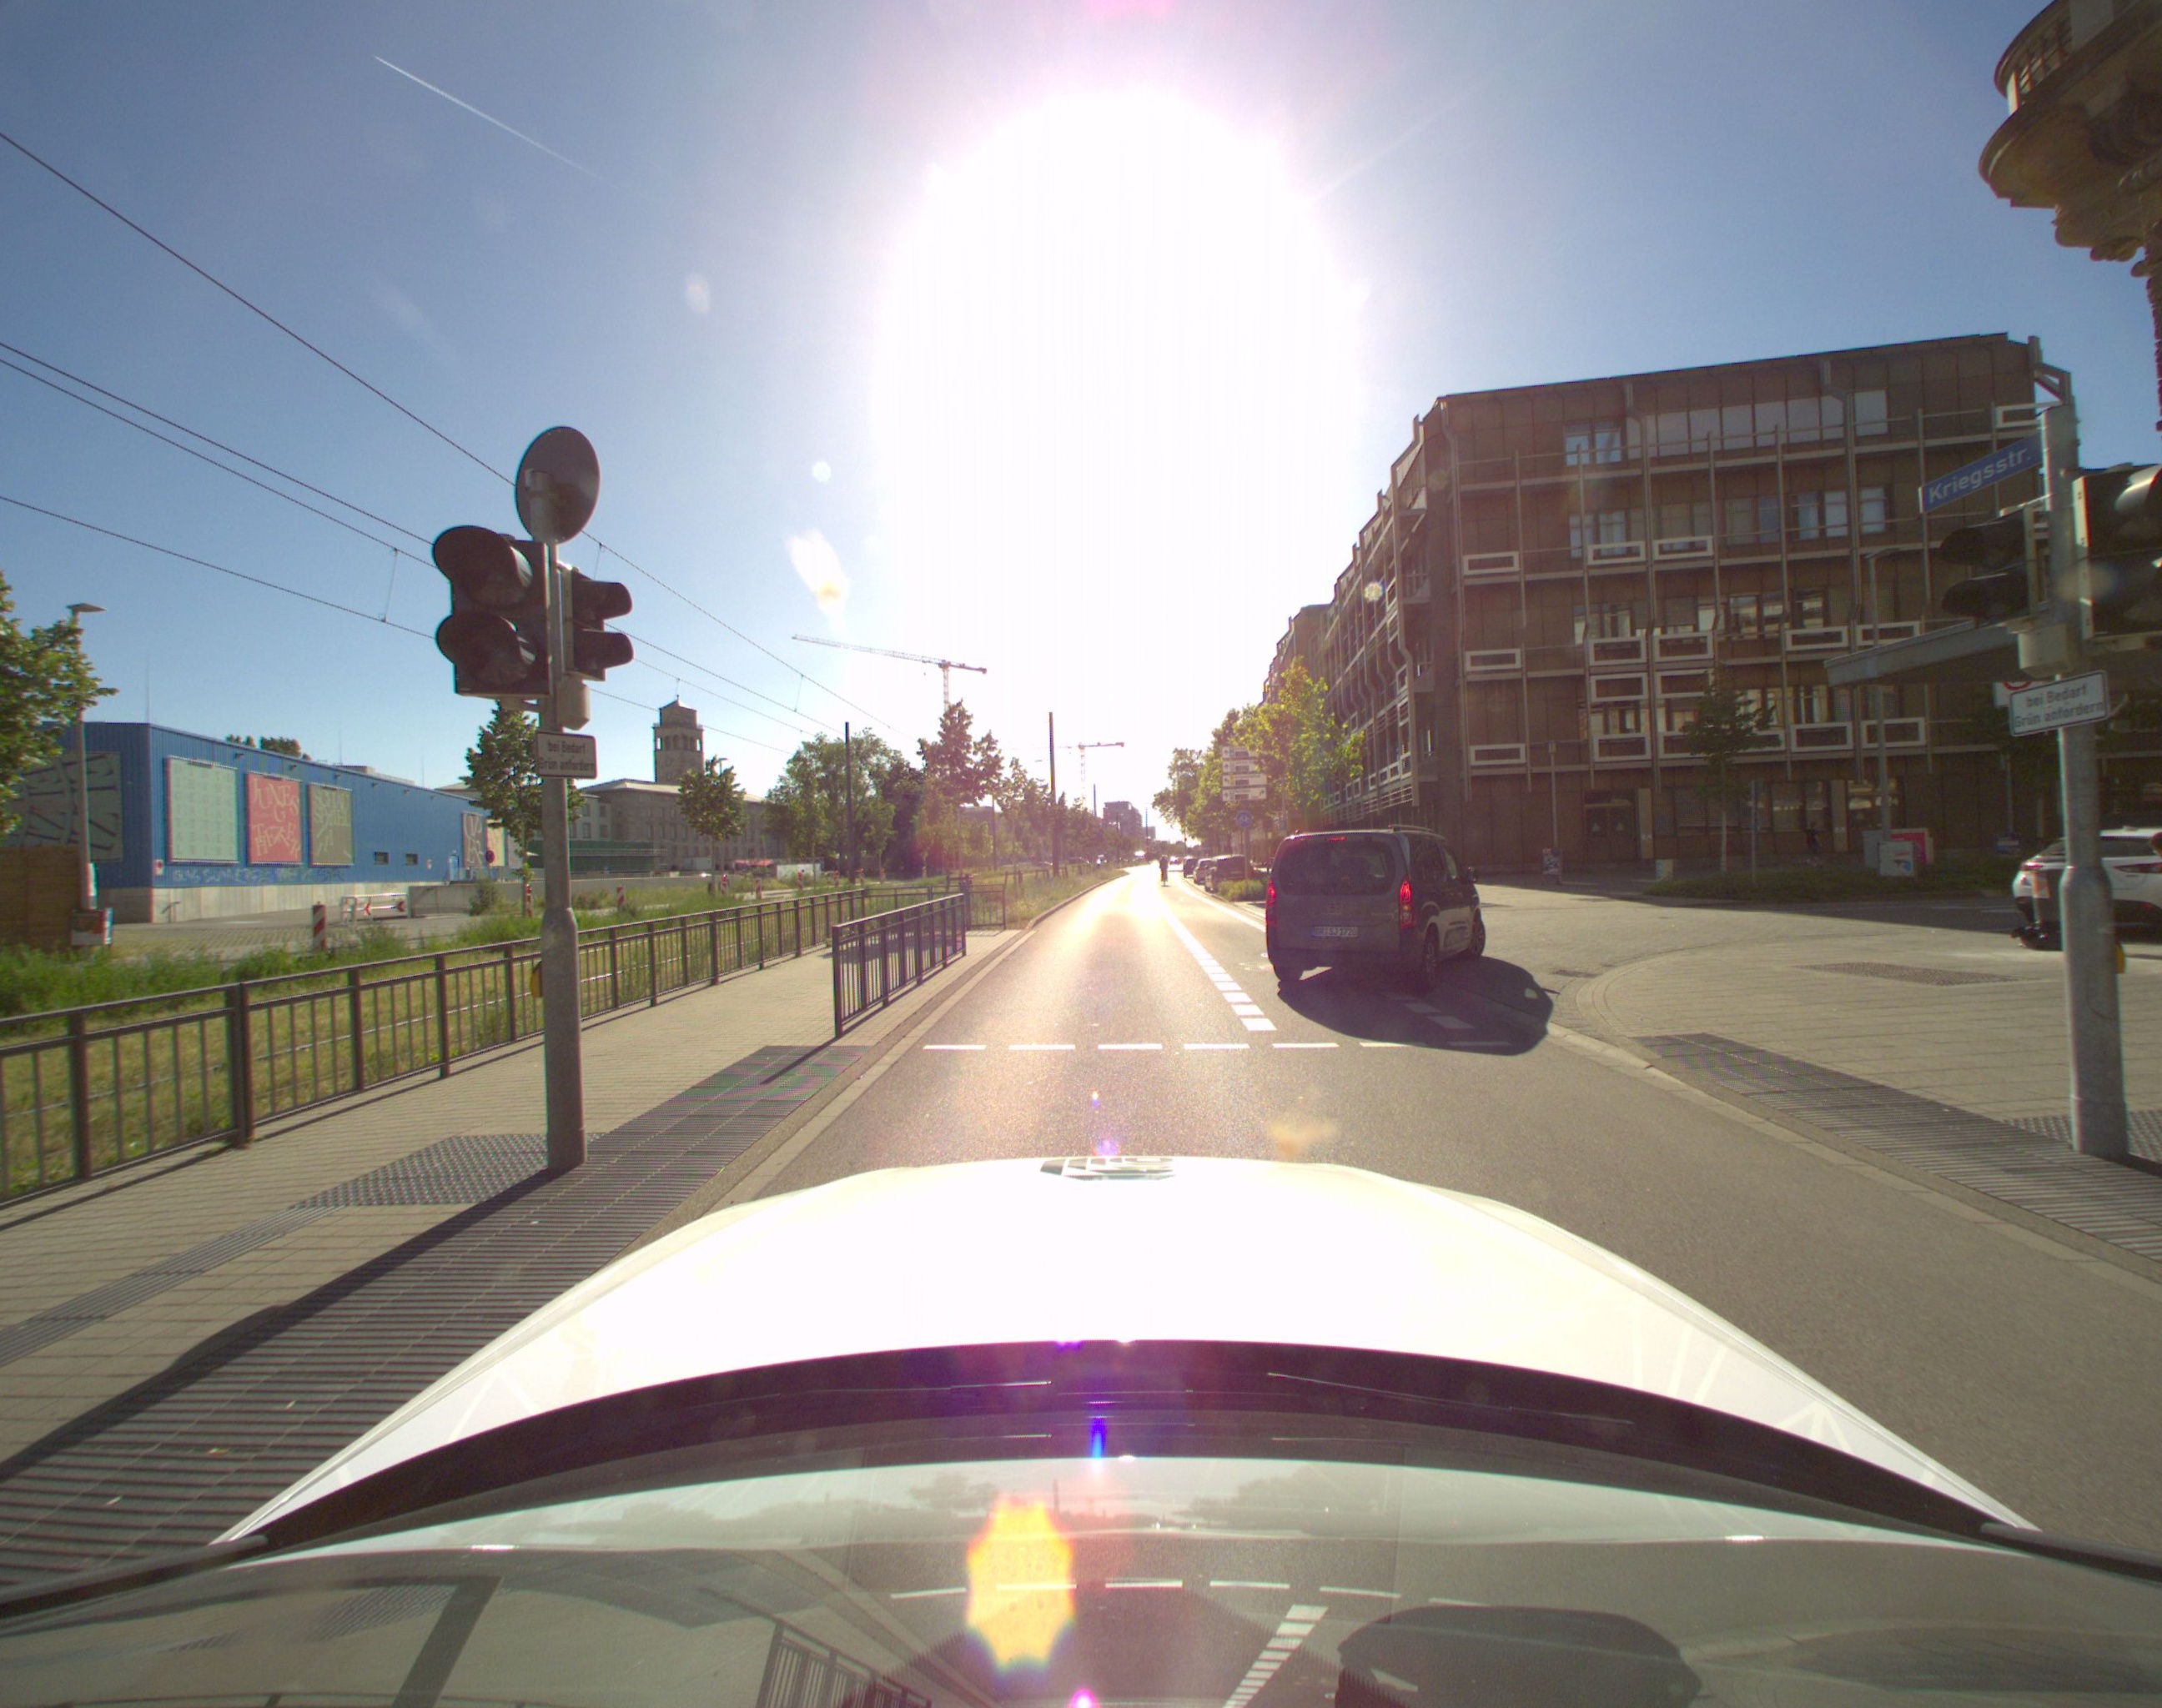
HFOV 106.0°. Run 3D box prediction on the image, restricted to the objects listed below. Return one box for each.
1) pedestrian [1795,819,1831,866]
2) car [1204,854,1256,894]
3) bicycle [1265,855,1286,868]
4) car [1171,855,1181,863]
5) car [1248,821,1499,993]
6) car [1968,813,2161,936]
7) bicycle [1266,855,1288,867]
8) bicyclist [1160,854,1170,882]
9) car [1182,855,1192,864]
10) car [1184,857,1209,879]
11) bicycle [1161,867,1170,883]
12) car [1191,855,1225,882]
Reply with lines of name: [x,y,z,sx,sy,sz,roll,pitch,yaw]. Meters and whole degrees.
pedestrian: [28.414,-0.437,31.627,0.636,1.783,0.775,-2,0,1]
car: [6.818,0.874,37.624,1.740,1.659,4.473,-2,-1,3]
bicycle: [17.789,0.661,74.492,1.846,1.011,0.428,-4,-1,10]
car: [19.688,1.076,167.967,1.901,1.486,4.019,-2,0,8]
car: [3.941,0.536,10.500,1.794,1.752,4.194,-3,-1,37]
car: [15.460,0.192,11.447,4.391,1.544,1.848,-2,-1,-8]
bicycle: [17.684,0.673,73.326,1.846,0.939,0.428,-4,-1,10]
bicyclist: [5.055,0.840,49.014,0.510,1.601,0.537,-2,-1,4]
car: [21.331,1.102,163.933,1.710,1.618,4.199,-2,0,11]
car: [9.653,1.120,68.131,1.840,1.657,4.857,-4,-1,6]
bicycle: [5.059,1.274,48.984,0.495,0.906,2.199,0,0,5]
car: [7.698,0.872,49.688,1.611,1.465,4.160,-4,-1,4]
